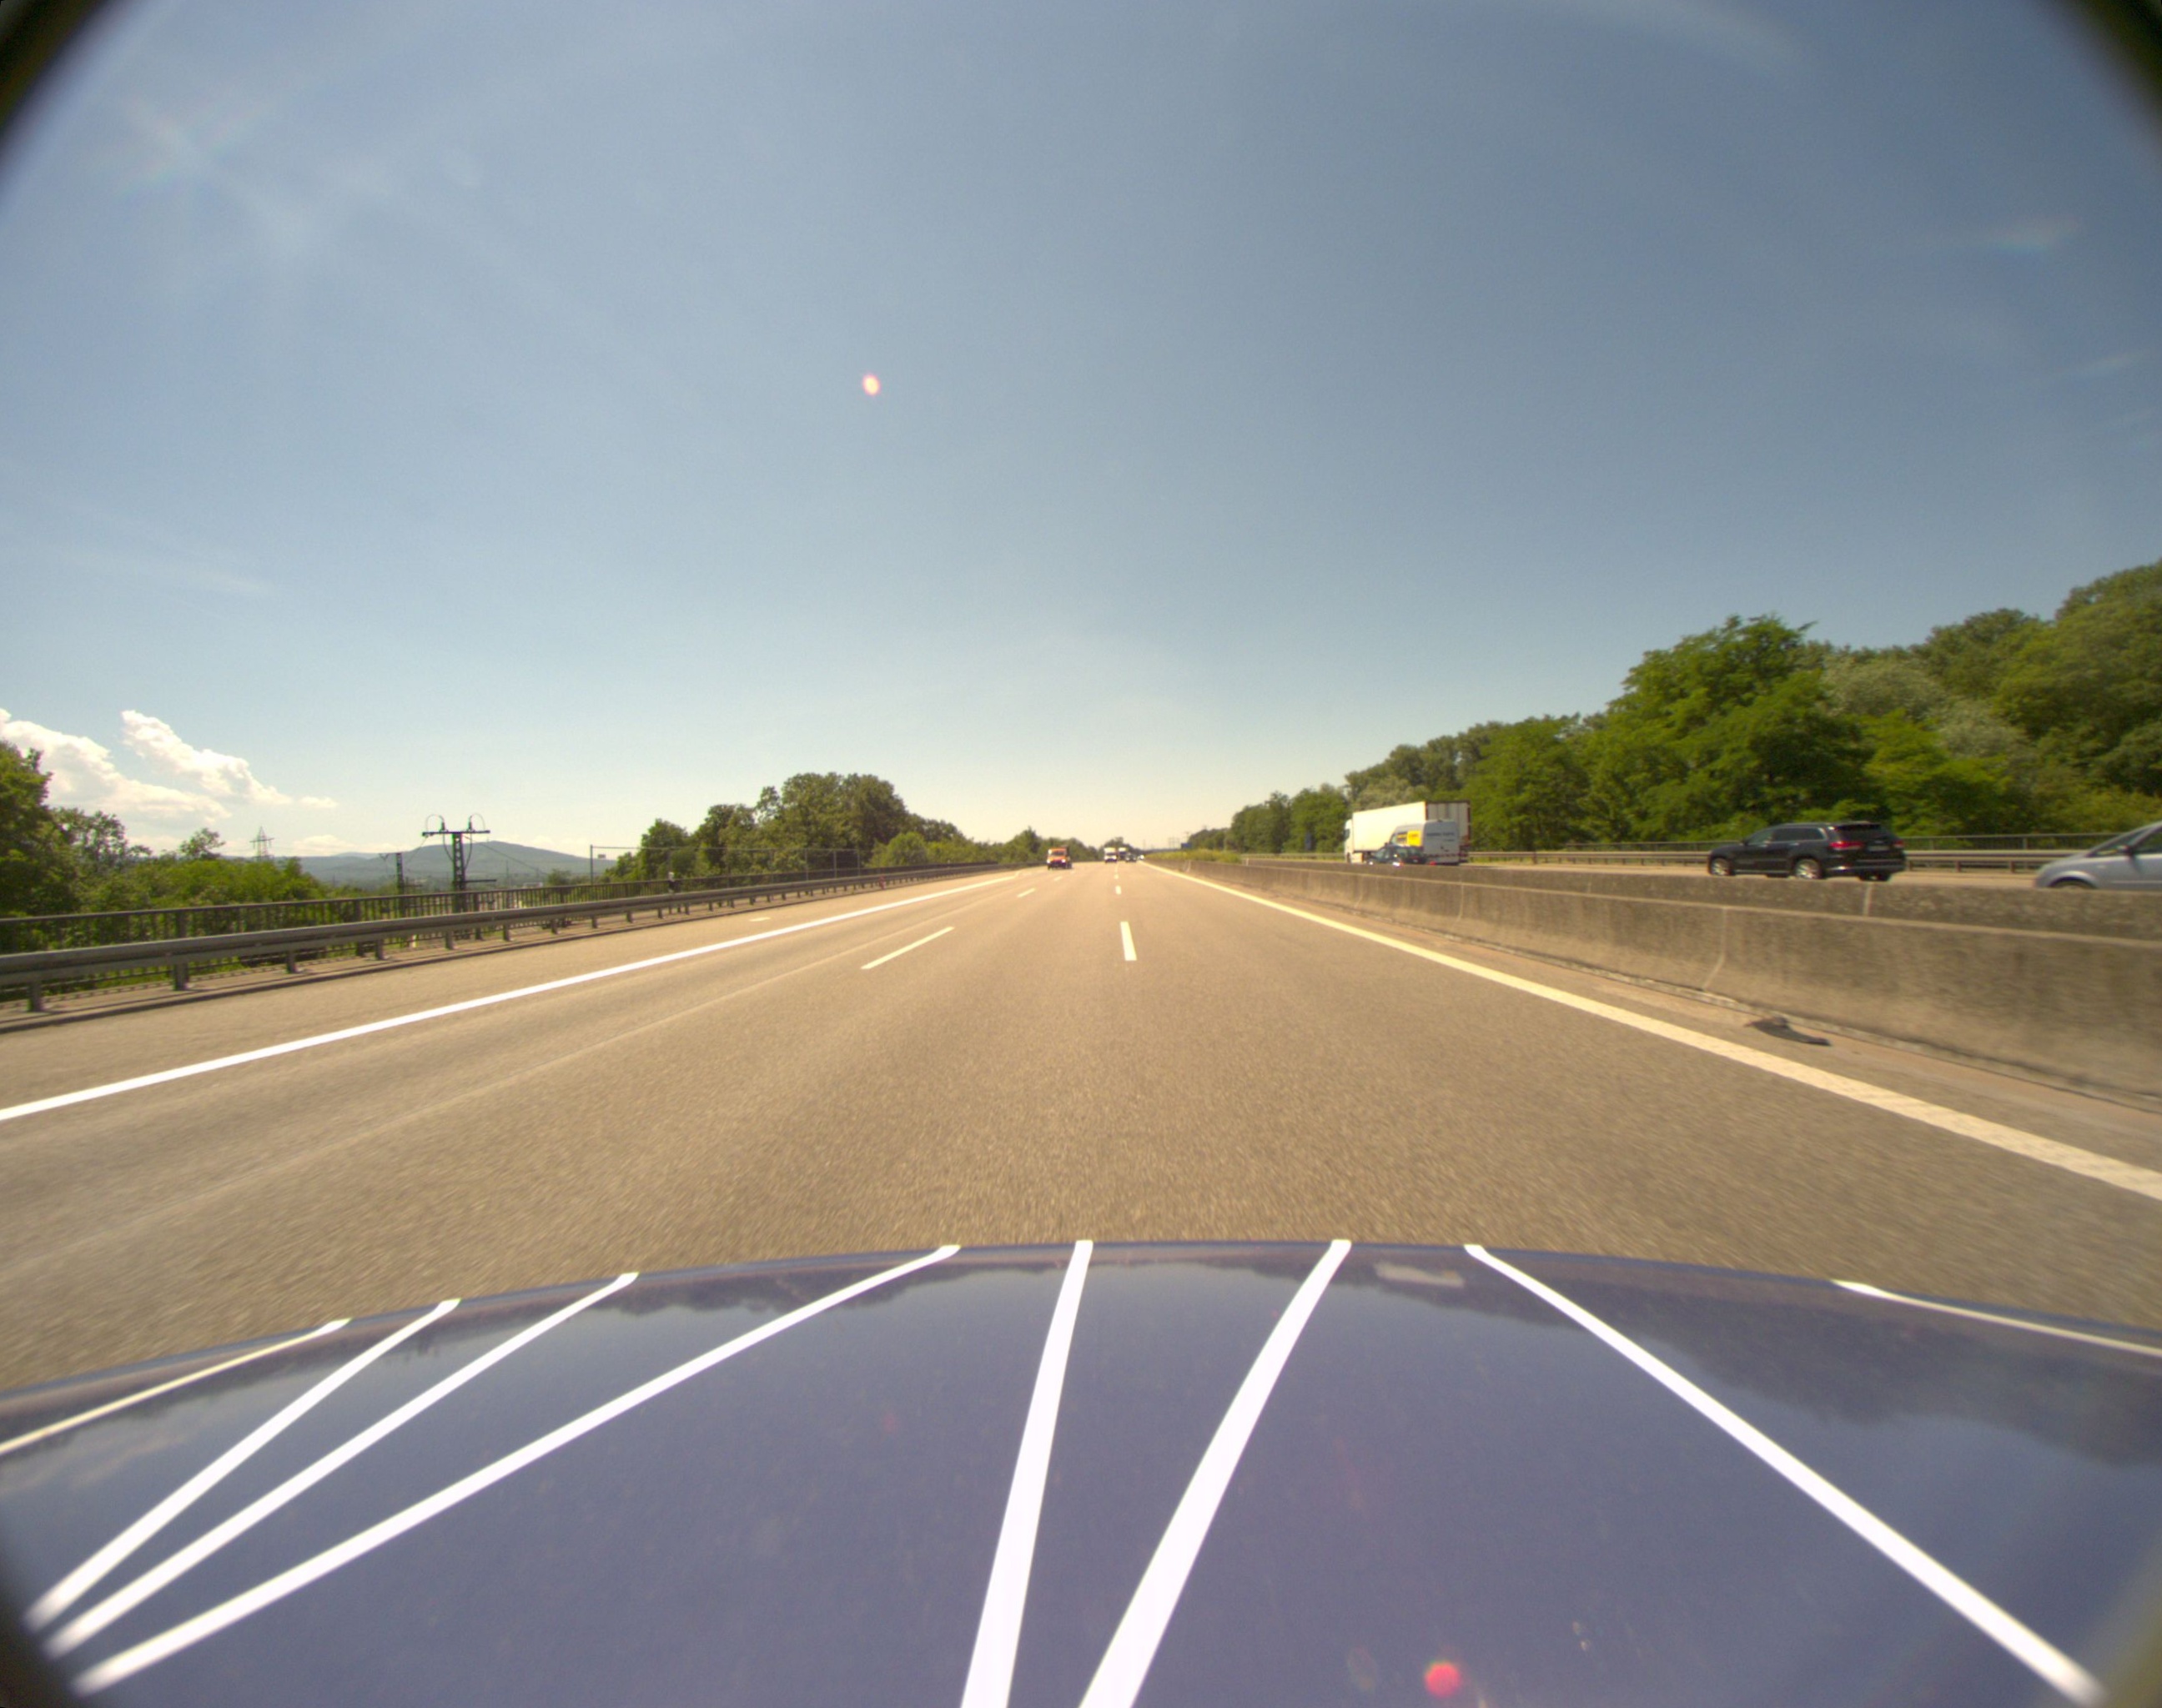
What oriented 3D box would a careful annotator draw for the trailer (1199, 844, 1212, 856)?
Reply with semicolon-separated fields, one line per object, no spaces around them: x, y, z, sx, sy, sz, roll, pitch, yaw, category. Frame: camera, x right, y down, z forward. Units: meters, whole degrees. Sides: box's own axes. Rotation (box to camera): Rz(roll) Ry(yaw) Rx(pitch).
22.829;-0.719;139.248;2.107;2.014;2.369;-2;0;2;trailer

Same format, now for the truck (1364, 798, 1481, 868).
22.054;-1.229;50.043;3.056;3.953;11.150;-2;0;2;truck

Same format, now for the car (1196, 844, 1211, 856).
22.982;-0.742;142.488;2.129;2.070;4.971;-2;0;3;car

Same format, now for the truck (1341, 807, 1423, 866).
22.322;-1.232;56.994;3.056;3.953;8.288;-2;0;2;truck

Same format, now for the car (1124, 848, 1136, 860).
8.788;-0.064;136.591;1.998;2.002;4.001;-2;1;4;car

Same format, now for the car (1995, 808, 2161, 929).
16.236;0.171;10.415;2.004;1.702;4.539;-2;1;1;car

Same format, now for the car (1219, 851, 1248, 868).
15.222;0.516;76.100;1.998;1.619;5.015;-2;1;1;car

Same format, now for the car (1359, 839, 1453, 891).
12.745;0.402;30.056;1.998;1.838;4.000;-2;1;1;car

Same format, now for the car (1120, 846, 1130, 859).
14.393;-0.675;248.085;2.796;4.090;7.308;-2;1;4;car

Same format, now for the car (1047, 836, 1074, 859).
-2.220;-0.630;85.895;1.997;2.390;7.230;-2;-1;6;car

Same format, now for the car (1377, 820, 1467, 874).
17.444;-0.354;39.319;1.998;2.553;6.129;-2;0;2;car

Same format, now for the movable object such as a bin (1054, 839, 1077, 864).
-1.845;-0.263;91.920;2.178;2.798;4.764;-2;-1;6;movable object such as a bin

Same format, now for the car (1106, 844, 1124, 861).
6.333;-0.270;139.504;2.521;2.856;6.404;-5;-1;7;car

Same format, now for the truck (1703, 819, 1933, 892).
20.702;0.022;21.704;1.998;1.790;4.742;-2;1;1;truck
